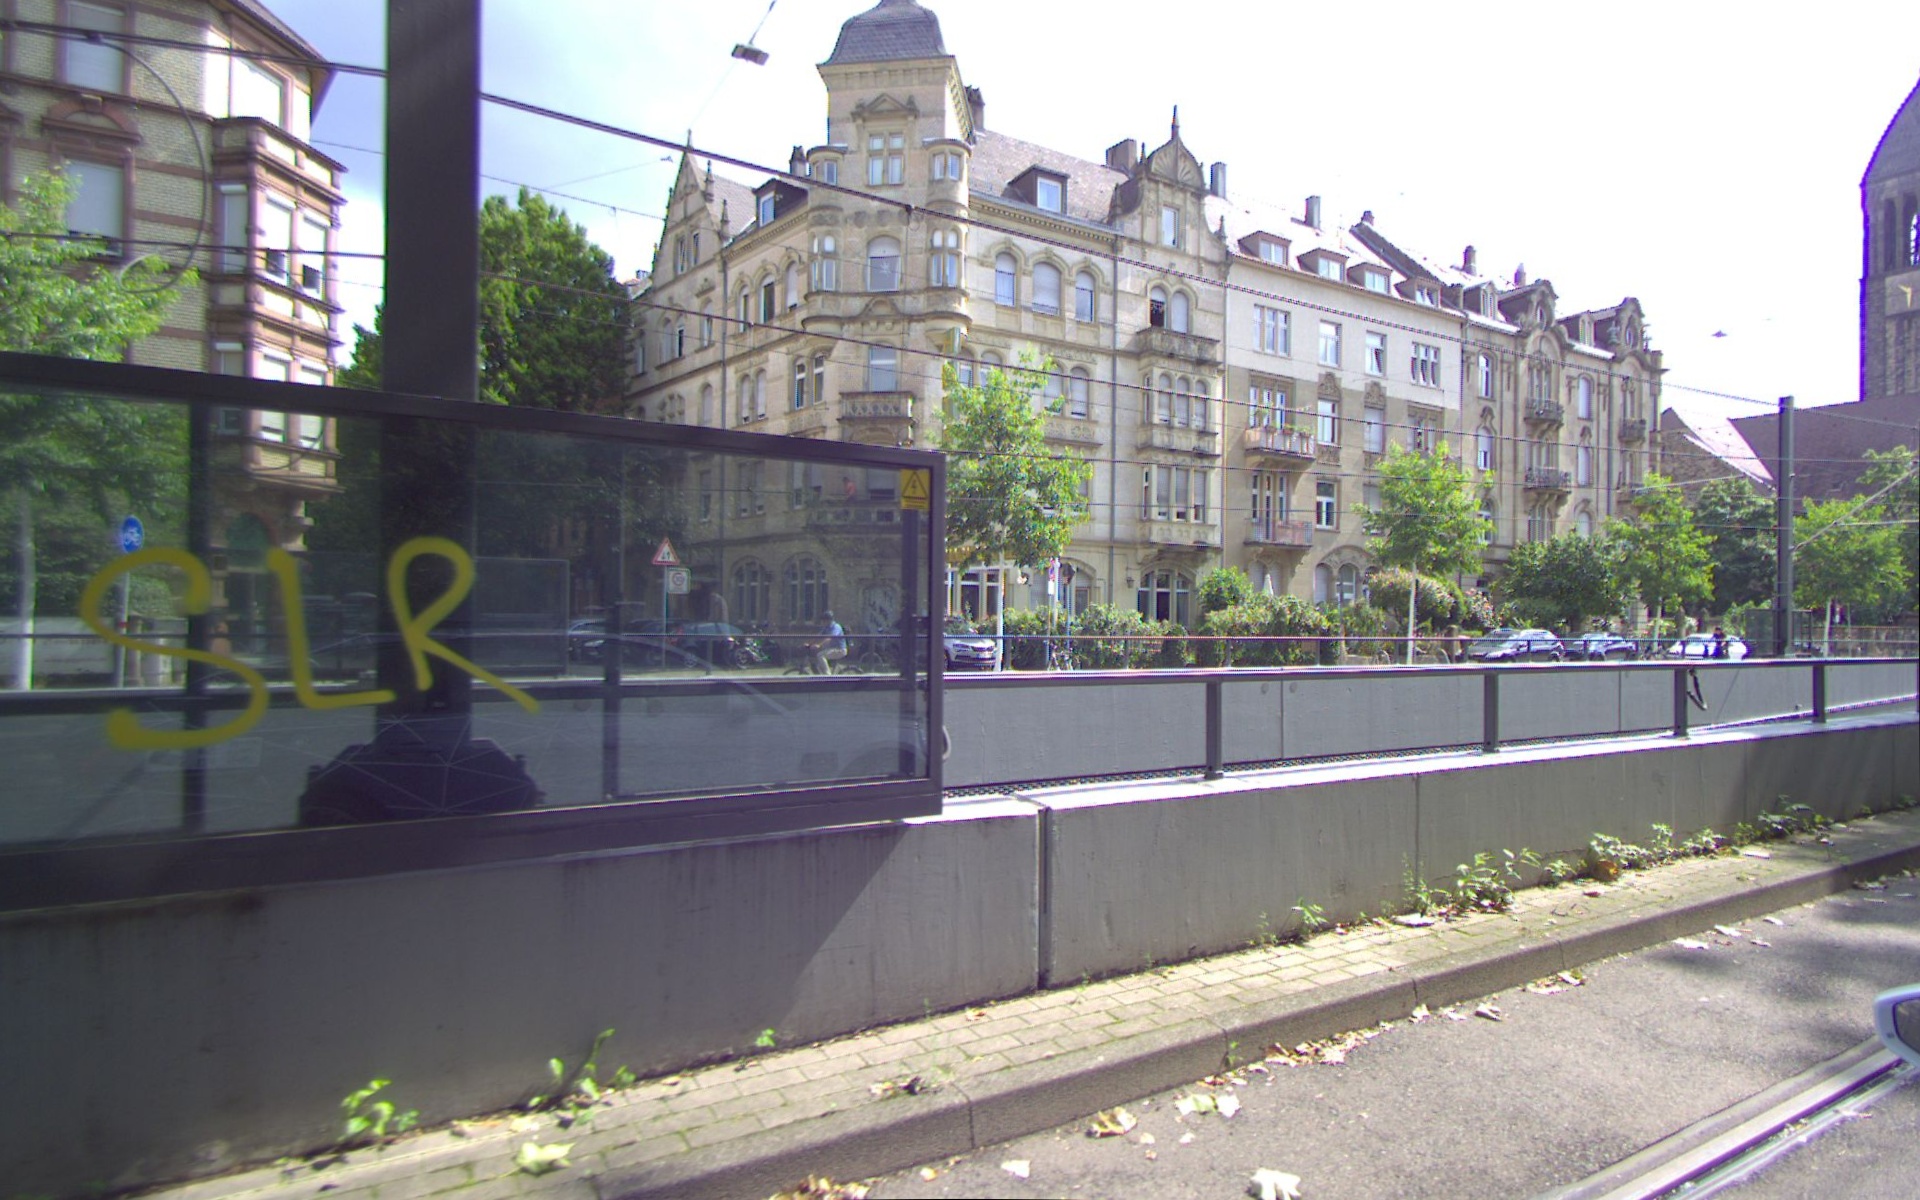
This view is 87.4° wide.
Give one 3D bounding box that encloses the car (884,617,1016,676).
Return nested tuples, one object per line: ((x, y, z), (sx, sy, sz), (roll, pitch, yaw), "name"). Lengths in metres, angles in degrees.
((-0.356, 1.347, 30.186), (2.019, 1.627, 3.919), (2, -1, -38), "car")

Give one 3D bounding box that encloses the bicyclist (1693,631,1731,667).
((28.828, 1.881, 38.504), (1.036, 1.355, 0.764), (1, -3, -29), "bicyclist")

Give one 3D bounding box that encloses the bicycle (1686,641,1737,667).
((28.778, 2.069, 38.471), (2.115, 0.991, 0.772), (1, -3, -30), "bicycle")

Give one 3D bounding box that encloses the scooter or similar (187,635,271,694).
((-14.242, 1.241, 19.594), (1.273, 1.096, 0.375), (1, 1, -30), "scooter or similar")

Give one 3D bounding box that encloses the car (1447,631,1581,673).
((19.228, 1.775, 34.844), (4.668, 1.345, 1.940), (1, -1, -29), "car")

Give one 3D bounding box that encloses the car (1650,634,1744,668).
((30.775, 2.107, 41.933), (4.265, 1.345, 1.742), (2, -2, -32), "car")

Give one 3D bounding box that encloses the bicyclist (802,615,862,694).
((-2.512, 1.059, 19.675), (0.966, 1.498, 0.735), (1, -3, -30), "bicyclist")

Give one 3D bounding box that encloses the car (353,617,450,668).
((-18.388, 1.369, 32.989), (1.912, 1.556, 3.950), (3, -3, -42), "car")

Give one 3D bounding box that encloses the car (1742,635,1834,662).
((49.490, 2.879, 60.111), (1.702, 1.483, 3.946), (1, -2, -29), "car")

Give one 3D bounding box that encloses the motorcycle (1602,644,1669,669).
((26.457, 2.192, 39.343), (1.401, 0.954, 1.752), (1, -3, -31), "motorcycle")

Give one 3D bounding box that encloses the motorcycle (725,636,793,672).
((-5.912, 1.576, 29.605), (1.985, 1.007, 0.517), (2, -2, -42), "motorcycle")

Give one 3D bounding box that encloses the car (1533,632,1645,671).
((23.457, 1.901, 37.430), (4.055, 1.345, 2.009), (1, -1, -32), "car")

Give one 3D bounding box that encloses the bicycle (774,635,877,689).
((-2.623, 1.186, 19.608), (1.876, 1.009, 0.722), (1, -3, -31), "bicycle")

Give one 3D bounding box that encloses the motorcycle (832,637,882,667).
((-3.333, 1.669, 32.376), (1.564, 0.935, 0.492), (1, -1, -12), "motorcycle")
